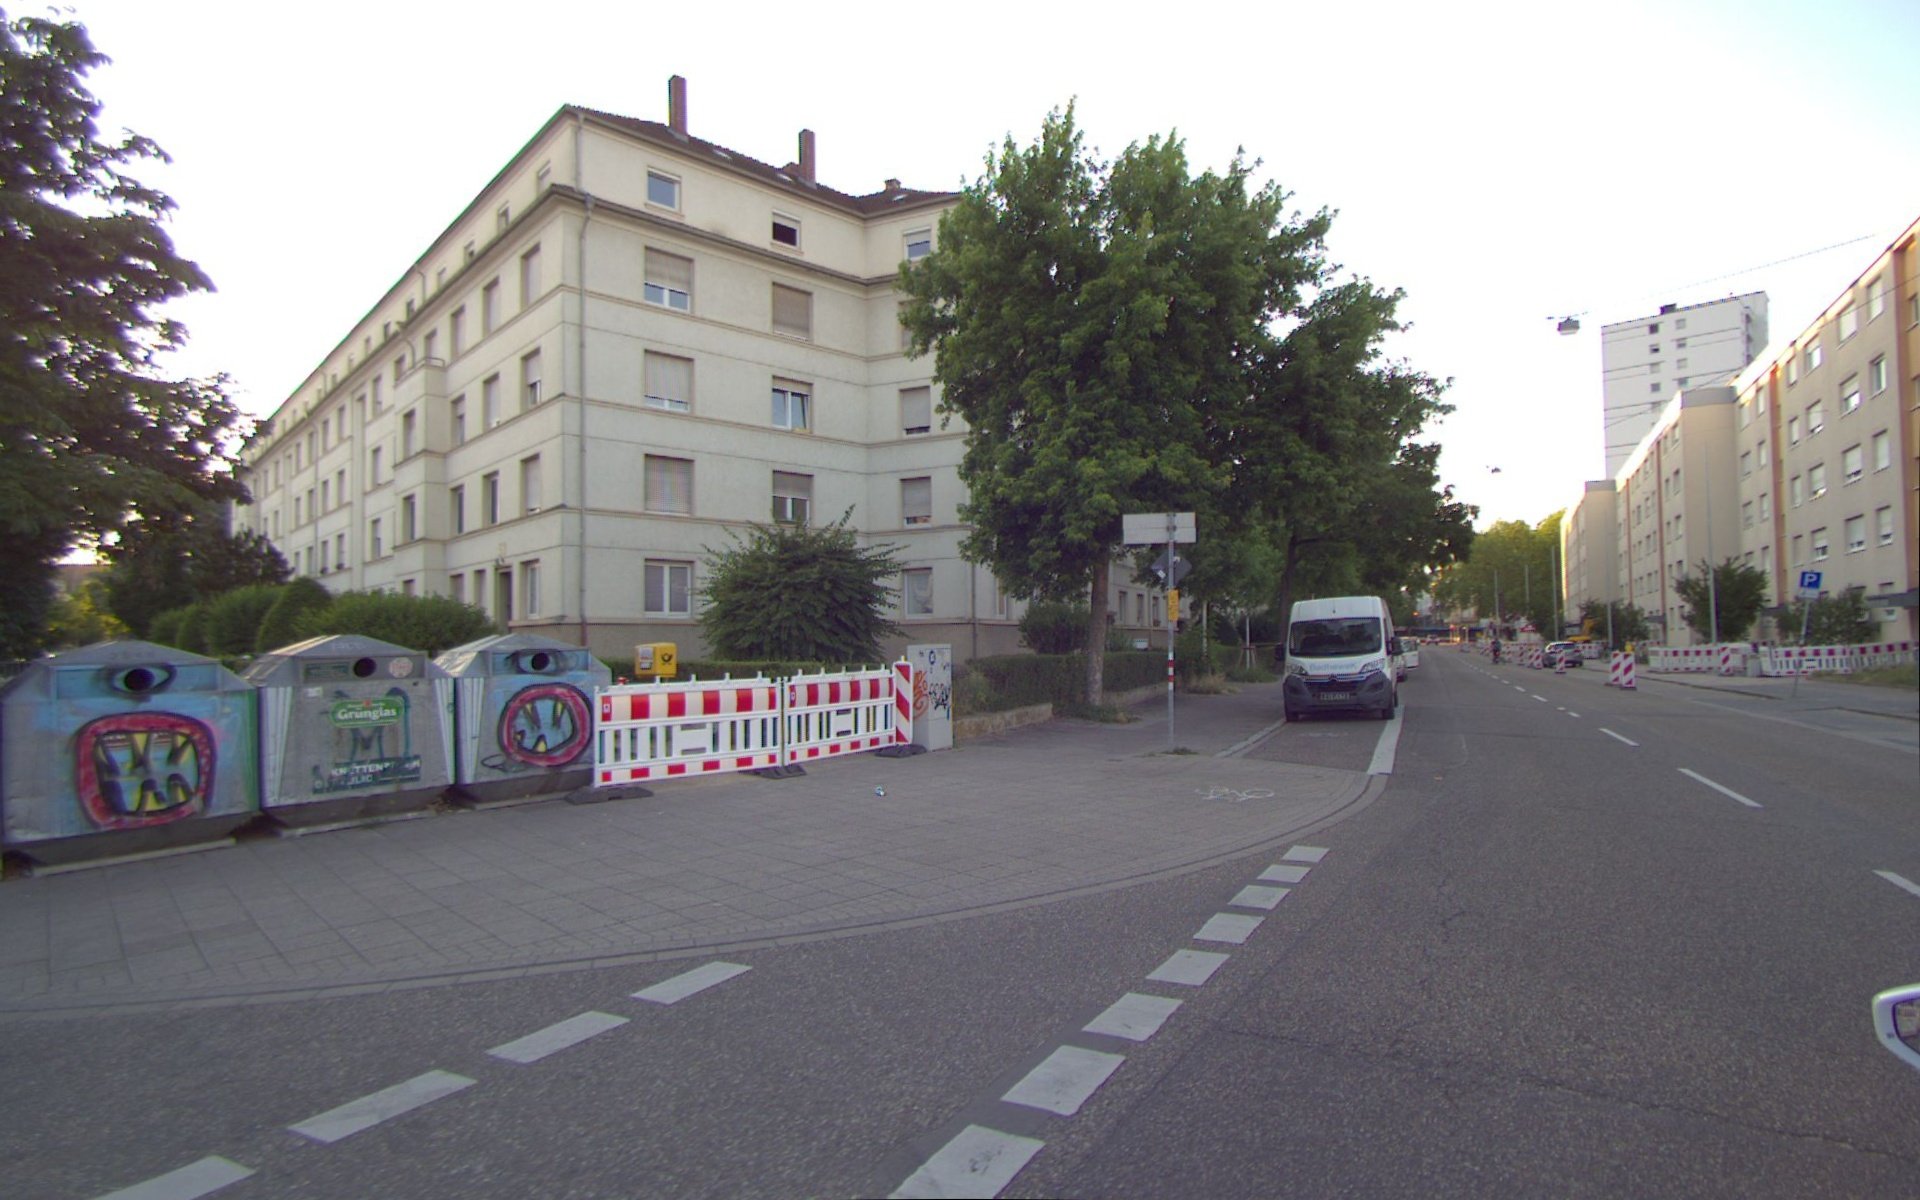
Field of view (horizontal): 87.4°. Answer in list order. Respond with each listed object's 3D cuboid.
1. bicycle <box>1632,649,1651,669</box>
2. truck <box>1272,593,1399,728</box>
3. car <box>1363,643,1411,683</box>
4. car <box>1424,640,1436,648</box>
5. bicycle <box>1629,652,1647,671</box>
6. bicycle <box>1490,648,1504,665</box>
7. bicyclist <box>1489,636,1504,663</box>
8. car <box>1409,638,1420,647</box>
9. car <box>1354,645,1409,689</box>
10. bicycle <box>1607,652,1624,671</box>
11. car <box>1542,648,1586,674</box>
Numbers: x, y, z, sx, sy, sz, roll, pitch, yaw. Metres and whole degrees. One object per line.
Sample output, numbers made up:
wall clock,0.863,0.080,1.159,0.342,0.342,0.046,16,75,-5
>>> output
bicycle,38.606,3.324,56.906,0.607,1.121,2.233,-2,-3,27
truck,8.168,1.262,21.484,2.068,2.454,6.043,-3,-3,24
car,18.799,2.732,44.179,1.729,1.624,3.925,-4,-4,25
car,86.487,8.114,184.943,1.667,1.461,3.454,-4,-4,21
bicycle,41.792,3.786,61.966,0.607,1.121,2.233,-2,-3,27
bicycle,36.426,3.829,68.168,0.631,1.129,3.053,-1,-3,25
bicyclist,36.633,3.393,68.606,0.779,1.823,1.016,-1,-2,25
car,81.409,7.632,179.874,1.728,1.461,3.453,-4,-4,23
car,16.388,2.569,38.962,1.729,1.502,3.925,-4,-4,25
bicycle,40.783,3.800,62.503,0.607,1.121,2.233,-2,-3,27
car,35.844,3.598,59.660,1.752,1.408,3.997,-2,-3,25
